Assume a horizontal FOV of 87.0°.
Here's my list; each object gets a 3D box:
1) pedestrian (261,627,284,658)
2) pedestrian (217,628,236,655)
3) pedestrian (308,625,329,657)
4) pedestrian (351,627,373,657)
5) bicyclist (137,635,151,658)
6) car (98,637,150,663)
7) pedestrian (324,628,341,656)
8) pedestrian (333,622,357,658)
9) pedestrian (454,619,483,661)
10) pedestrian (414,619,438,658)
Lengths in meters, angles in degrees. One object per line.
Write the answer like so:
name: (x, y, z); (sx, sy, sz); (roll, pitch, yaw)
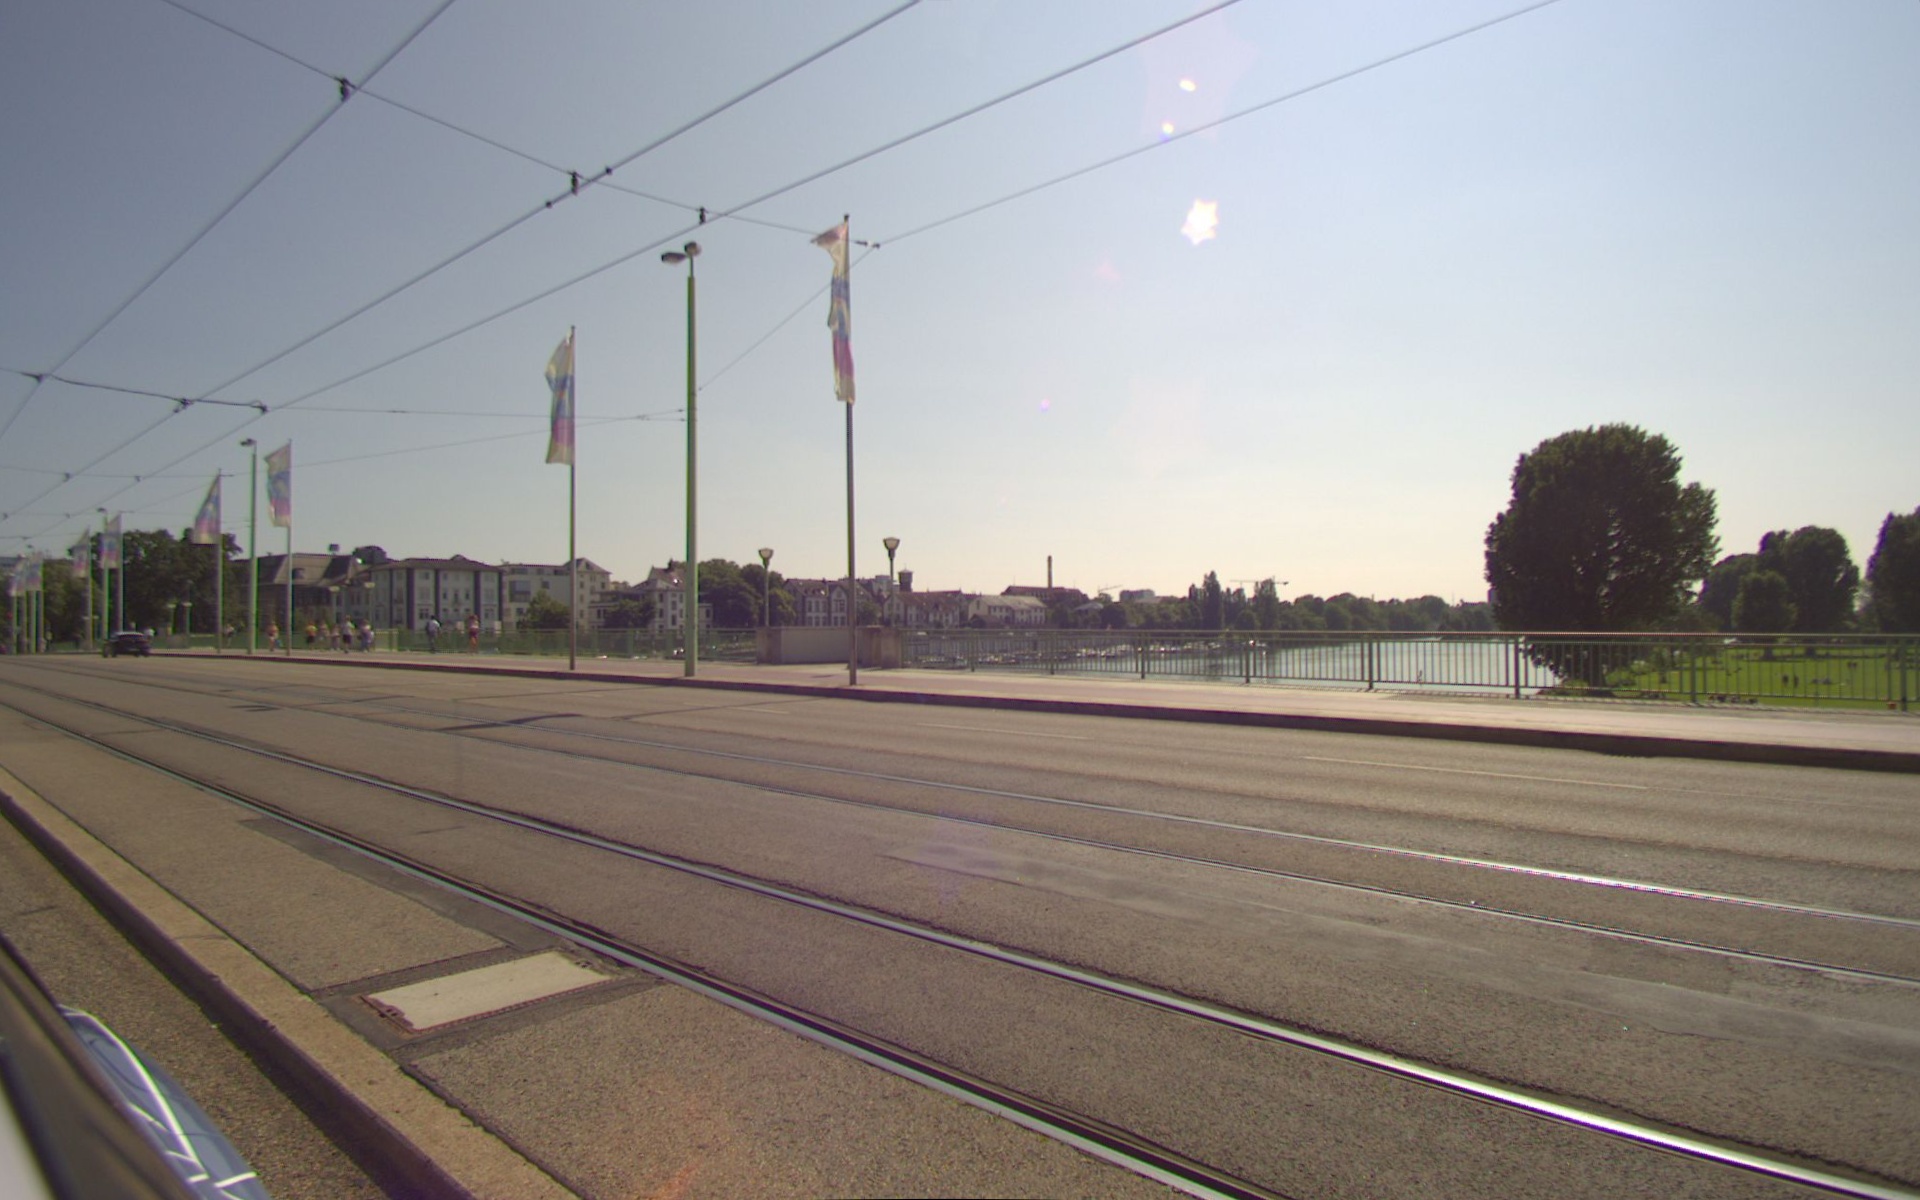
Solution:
pedestrian: (-38.512, 2.380, 56.659); (1.022, 1.712, 0.777); (-2, 0, 41)
pedestrian: (-48.812, 2.767, 67.383); (1.022, 1.712, 0.777); (-2, 0, 41)
pedestrian: (-33.197, 2.109, 52.348); (1.022, 1.611, 0.619); (-2, 0, 41)
pedestrian: (-28.727, 2.002, 48.619); (1.022, 1.425, 0.584); (-2, 0, 41)
bicyclist: (-58.296, 3.308, 72.307); (0.621, 1.663, 0.657); (-2, -2, 42)
car: (-48.404, 2.865, 58.597); (3.899, 1.466, 1.698); (-2, -3, 41)
pedestrian: (-32.891, 2.183, 53.036); (0.788, 1.448, 0.540); (-2, 0, 41)
pedestrian: (-29.484, 1.912, 48.487); (1.022, 1.712, 0.663); (-2, 0, 41)
pedestrian: (-20.365, 1.639, 41.917); (1.022, 1.703, 0.677); (-2, 0, 41)
pedestrian: (-24.083, 1.717, 45.622); (1.022, 1.712, 0.584); (-2, 0, 41)
